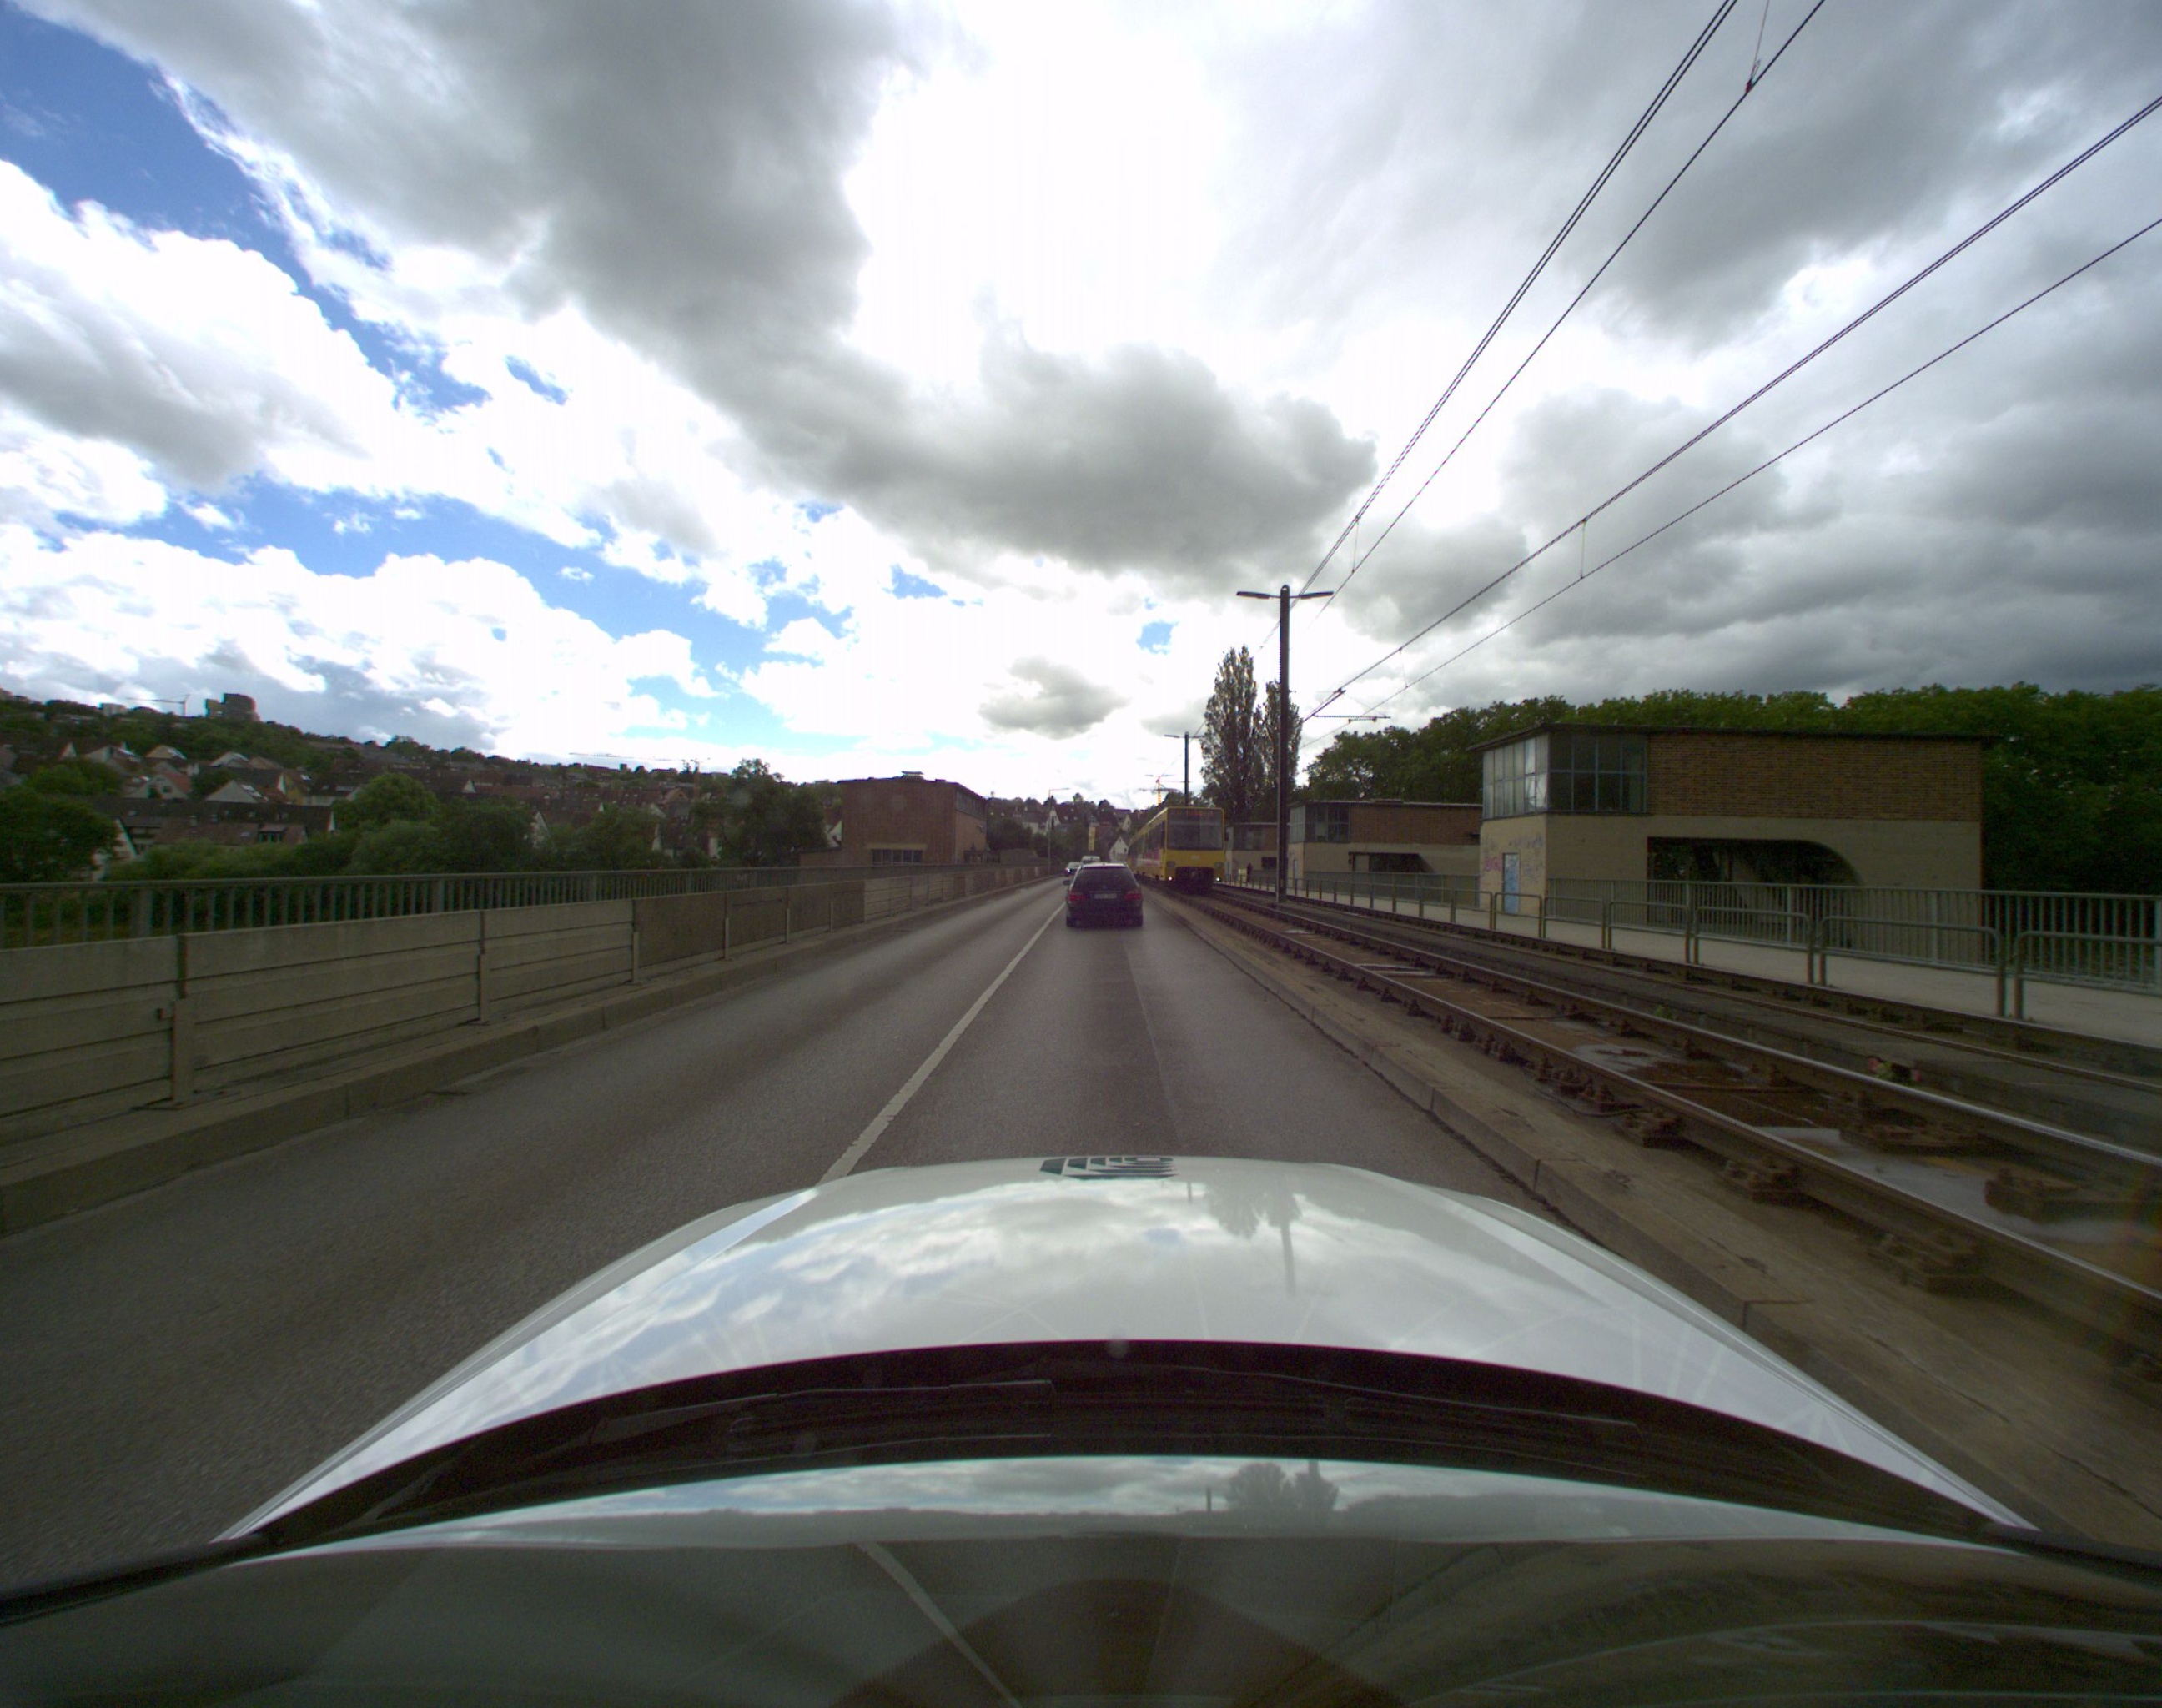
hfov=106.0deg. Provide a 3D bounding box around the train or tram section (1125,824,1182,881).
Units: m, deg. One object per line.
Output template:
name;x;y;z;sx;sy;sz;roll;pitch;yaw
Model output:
train or tram section;5.098;-0.082;60.837;2.820;3.580;18.669;-1;0;1

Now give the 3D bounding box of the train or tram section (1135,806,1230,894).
train or tram section;4.715;-0.135;42.167;2.872;3.509;18.669;-1;0;1

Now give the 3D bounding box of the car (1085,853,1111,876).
car;1.162;0.702;57.664;1.765;1.555;4.239;0;0;0

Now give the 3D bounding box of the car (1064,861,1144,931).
car;0.537;0.949;20.212;1.753;1.516;4.442;-1;0;0

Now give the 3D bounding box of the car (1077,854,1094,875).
car;0.605;1.332;107.278;2.026;2.561;7.009;0;0;1

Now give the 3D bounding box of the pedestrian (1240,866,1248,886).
pedestrian;13.465;1.802;67.355;0.575;1.610;0.613;0;-1;2

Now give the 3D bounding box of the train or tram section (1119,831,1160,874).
train or tram section;5.510;-0.034;80.077;2.775;3.656;19.894;-2;-1;1
